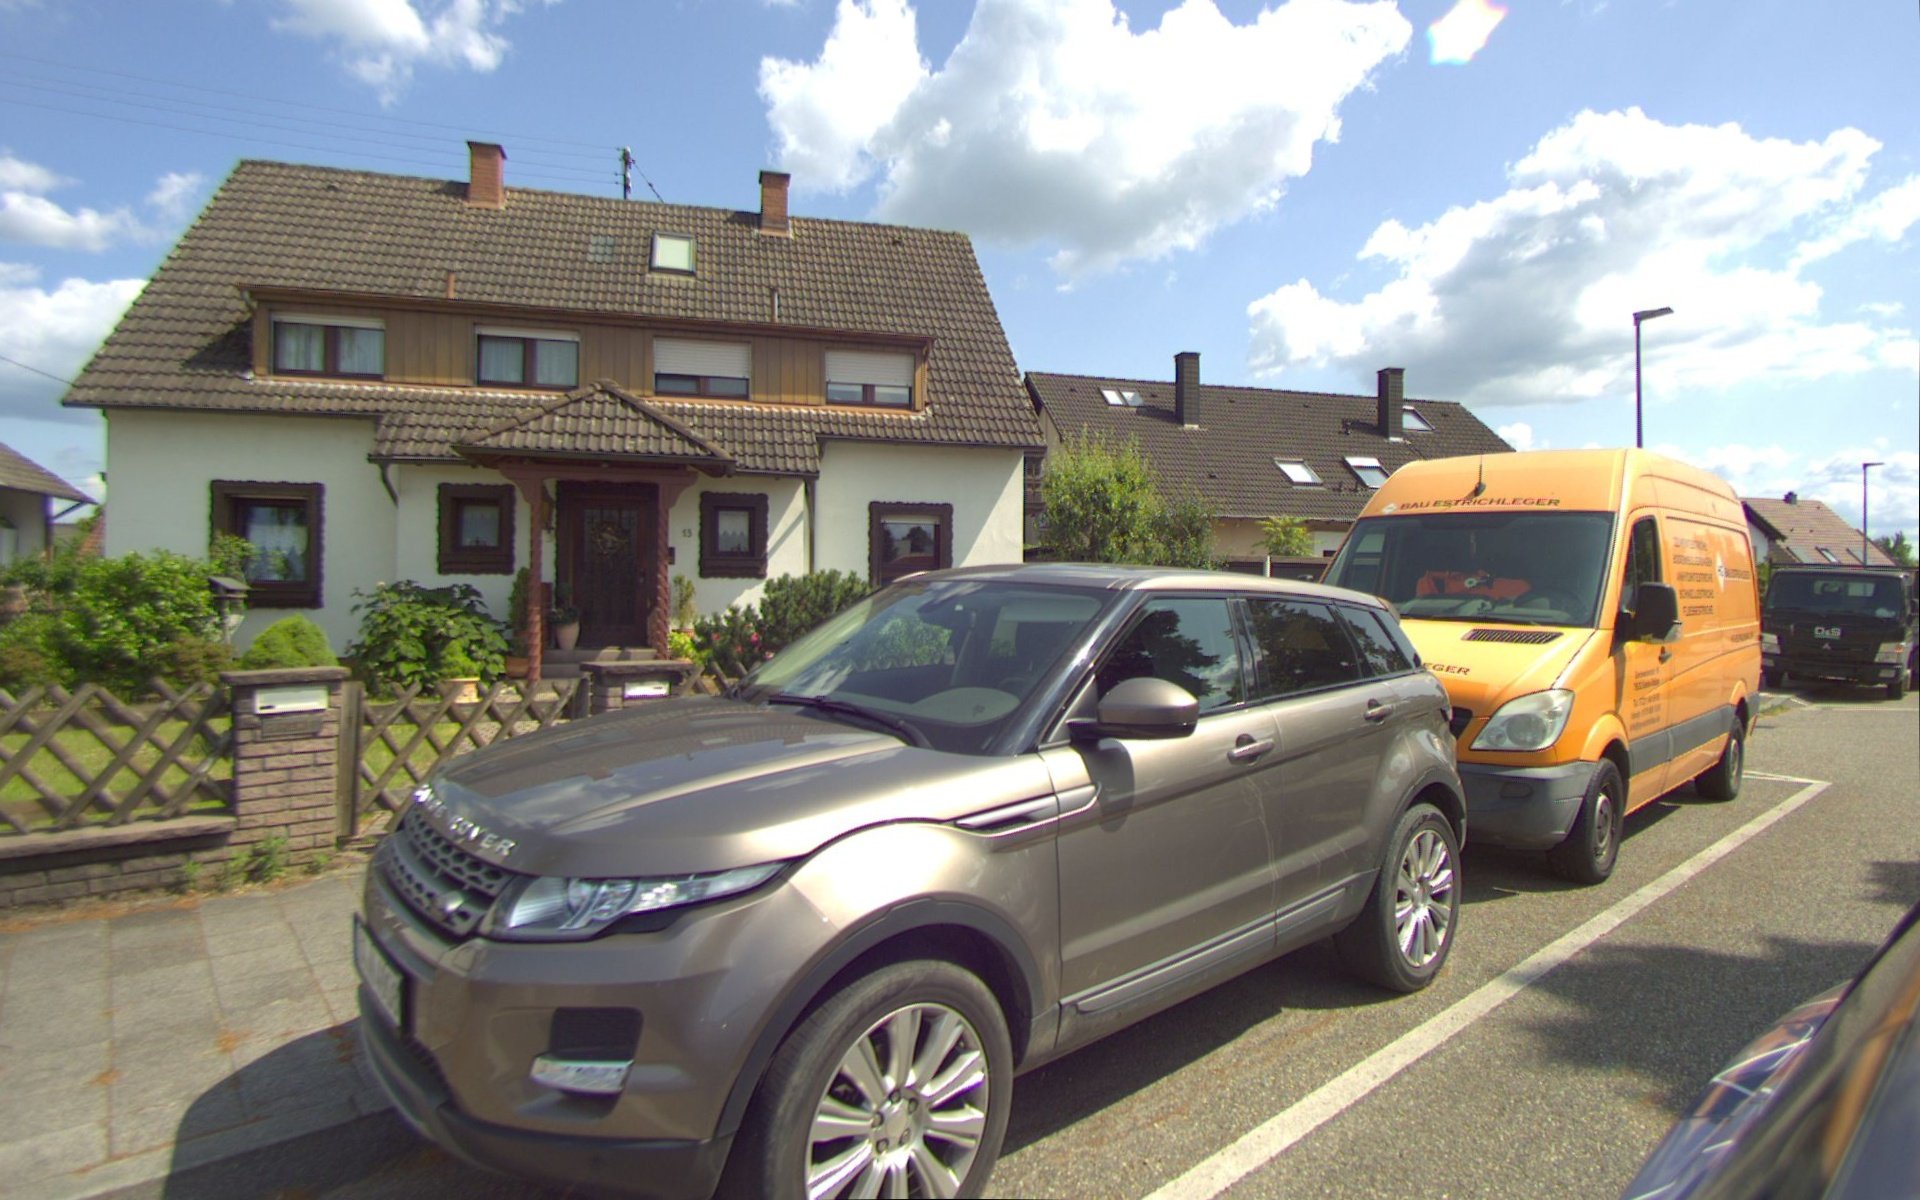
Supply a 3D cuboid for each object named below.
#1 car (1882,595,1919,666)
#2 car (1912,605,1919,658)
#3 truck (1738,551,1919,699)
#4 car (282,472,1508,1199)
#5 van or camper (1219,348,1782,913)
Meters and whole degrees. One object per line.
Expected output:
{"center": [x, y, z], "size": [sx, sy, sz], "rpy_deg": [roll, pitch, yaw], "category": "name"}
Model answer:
{"center": [24.413, 0.722, 25.057], "size": [4.474, 1.683, 1.833], "rpy_deg": [0, 0, -41], "category": "car"}
{"center": [28.828, 0.878, 29.077], "size": [4.073, 1.453, 1.688], "rpy_deg": [0, -1, -40], "category": "car"}
{"center": [16.882, 0.372, 18.921], "size": [5.792, 2.327, 2.527], "rpy_deg": [0, 3, -41], "category": "truck"}
{"center": [0.185, 0.634, 3.639], "size": [4.166, 1.661, 1.835], "rpy_deg": [0, 0, -41], "category": "car"}
{"center": [4.346, 0.145, 7.518], "size": [5.672, 2.698, 1.995], "rpy_deg": [0, 0, -43], "category": "van or camper"}
